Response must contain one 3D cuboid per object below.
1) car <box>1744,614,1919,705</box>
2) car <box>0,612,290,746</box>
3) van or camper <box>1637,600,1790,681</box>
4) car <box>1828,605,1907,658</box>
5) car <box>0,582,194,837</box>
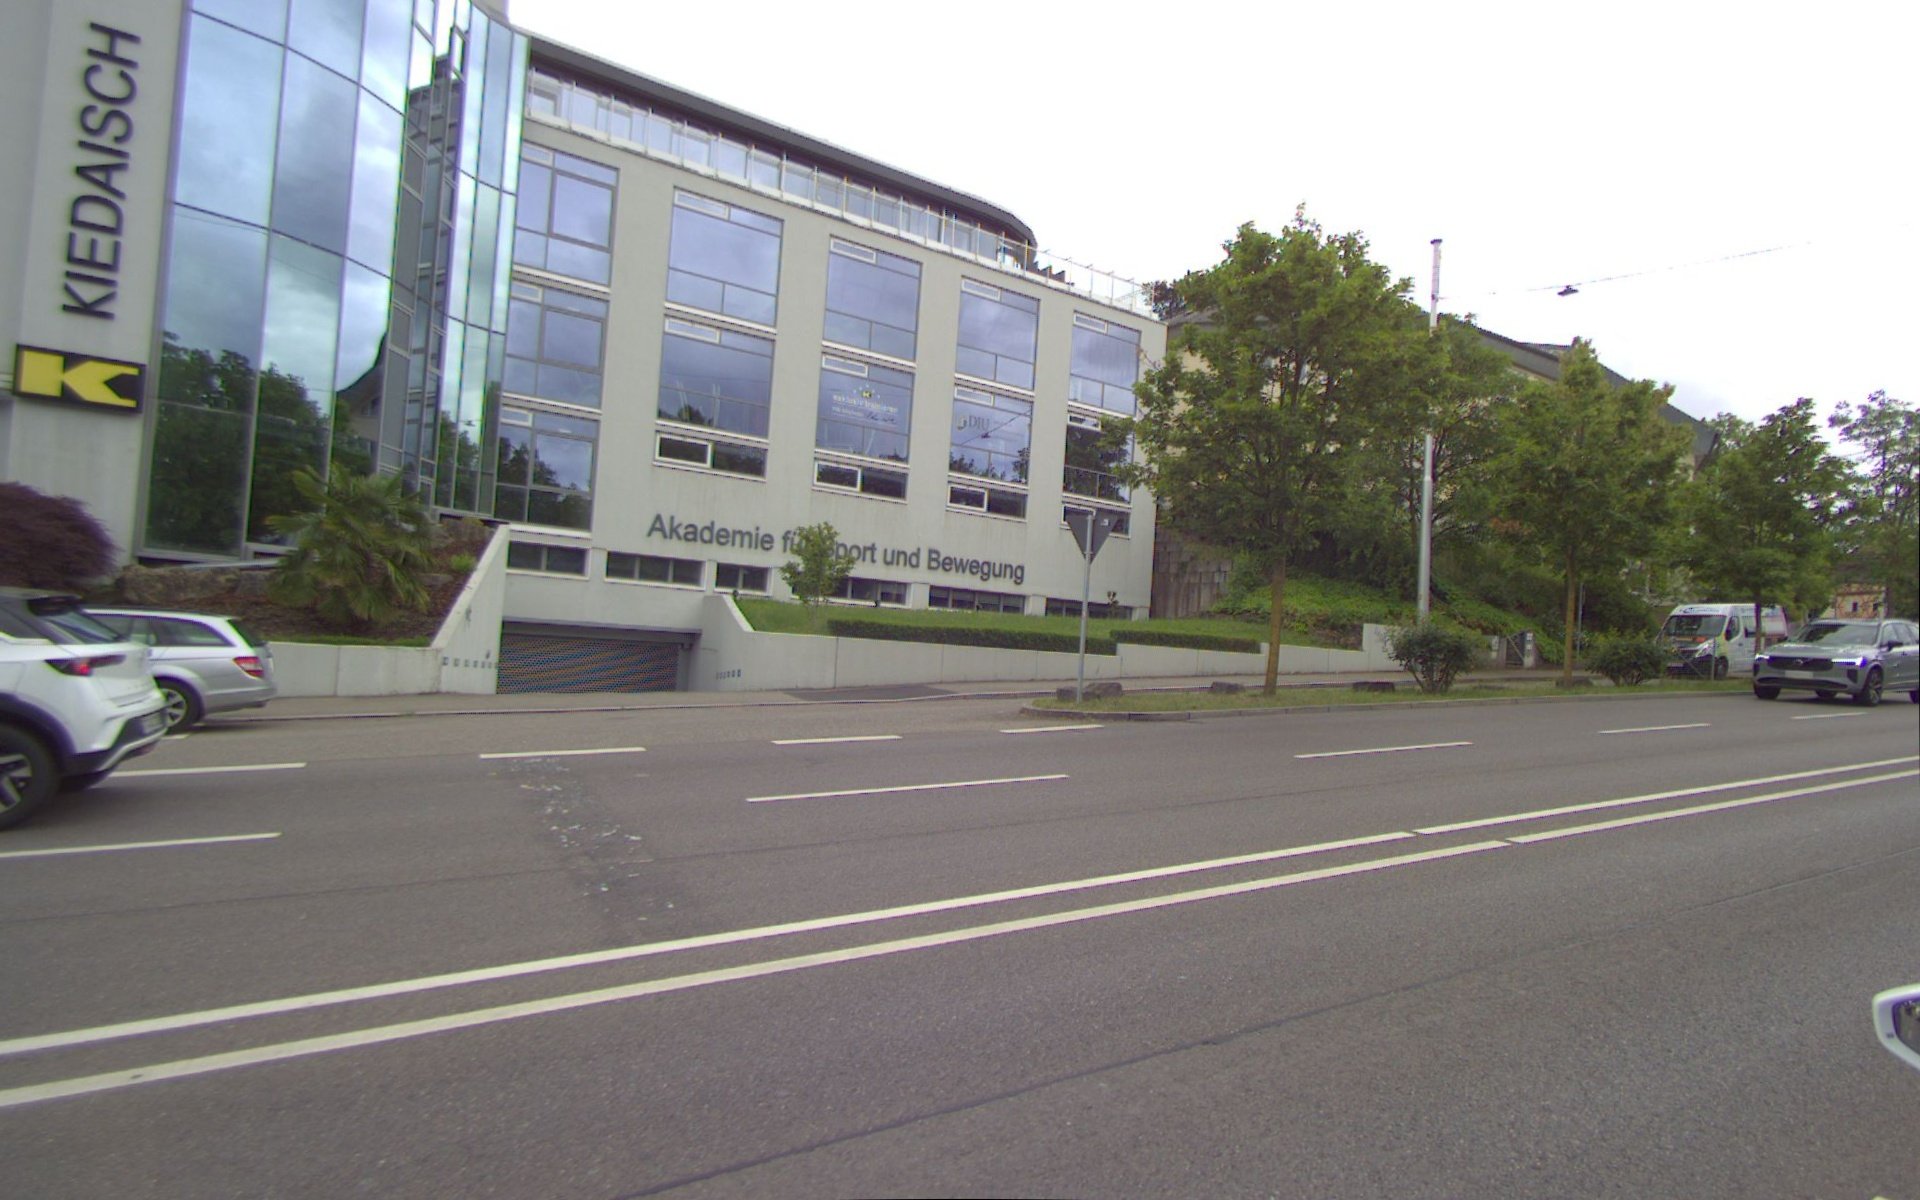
[{"bbox_3d":[18.791,1.190,21.300,4.813,1.731,1.755,1,0,-30],"label":"car"},{"bbox_3d":[-10.510,0.875,11.775,4.375,1.447,1.662,1,-1,-36],"label":"car"},{"bbox_3d":[25.172,1.322,33.512,5.640,2.505,1.985,1,-1,-29],"label":"van or camper"},{"bbox_3d":[42.647,1.469,47.149,6.282,2.303,2.246,2,-2,-43],"label":"car"},{"bbox_3d":[-7.435,0.652,6.316,3.872,1.562,1.793,1,0,-28],"label":"car"}]
